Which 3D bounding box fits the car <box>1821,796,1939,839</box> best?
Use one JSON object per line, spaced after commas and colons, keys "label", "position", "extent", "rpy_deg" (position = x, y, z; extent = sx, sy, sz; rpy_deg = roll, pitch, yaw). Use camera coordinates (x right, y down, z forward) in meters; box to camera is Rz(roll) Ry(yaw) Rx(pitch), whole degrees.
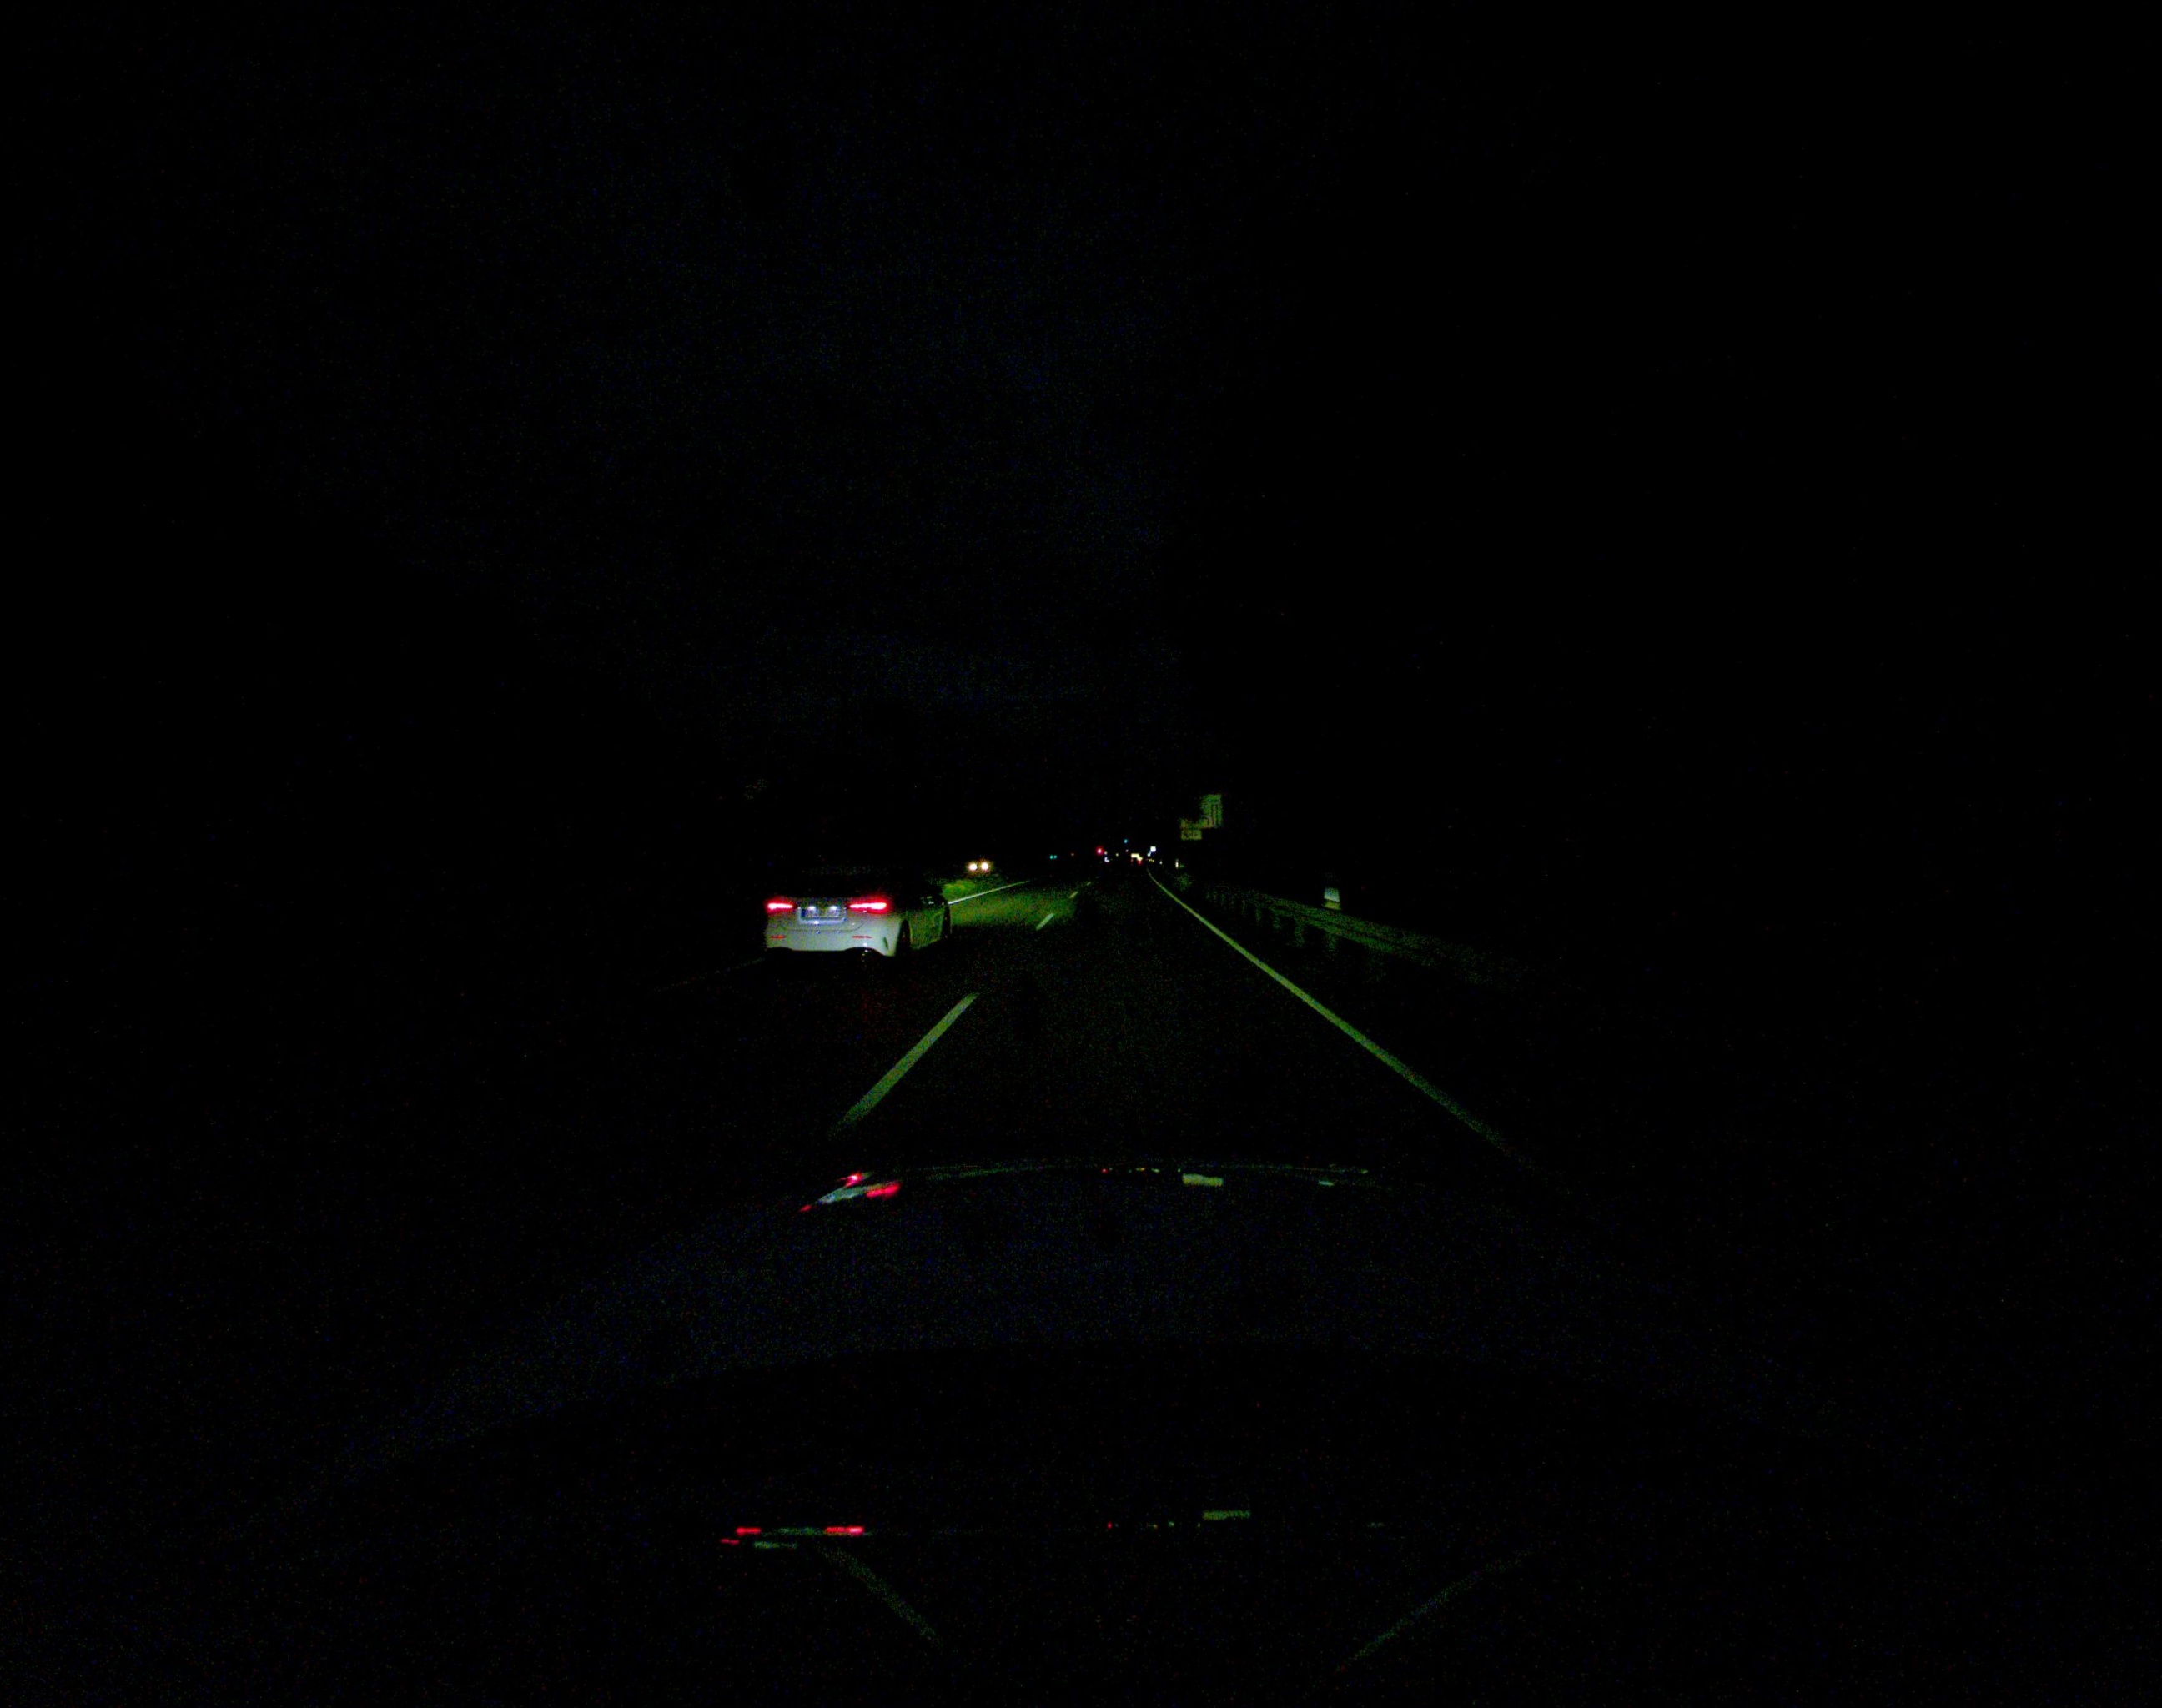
{"label": "car", "position": [46.439, -2.068, 47.498], "extent": [1.993, 2.152, 4.565], "rpy_deg": [-2, 0, -9]}

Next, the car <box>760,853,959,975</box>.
{"label": "car", "position": [-3.069, 0.736, 12.286], "extent": [1.636, 1.490, 4.581], "rpy_deg": [0, 0, 1]}
